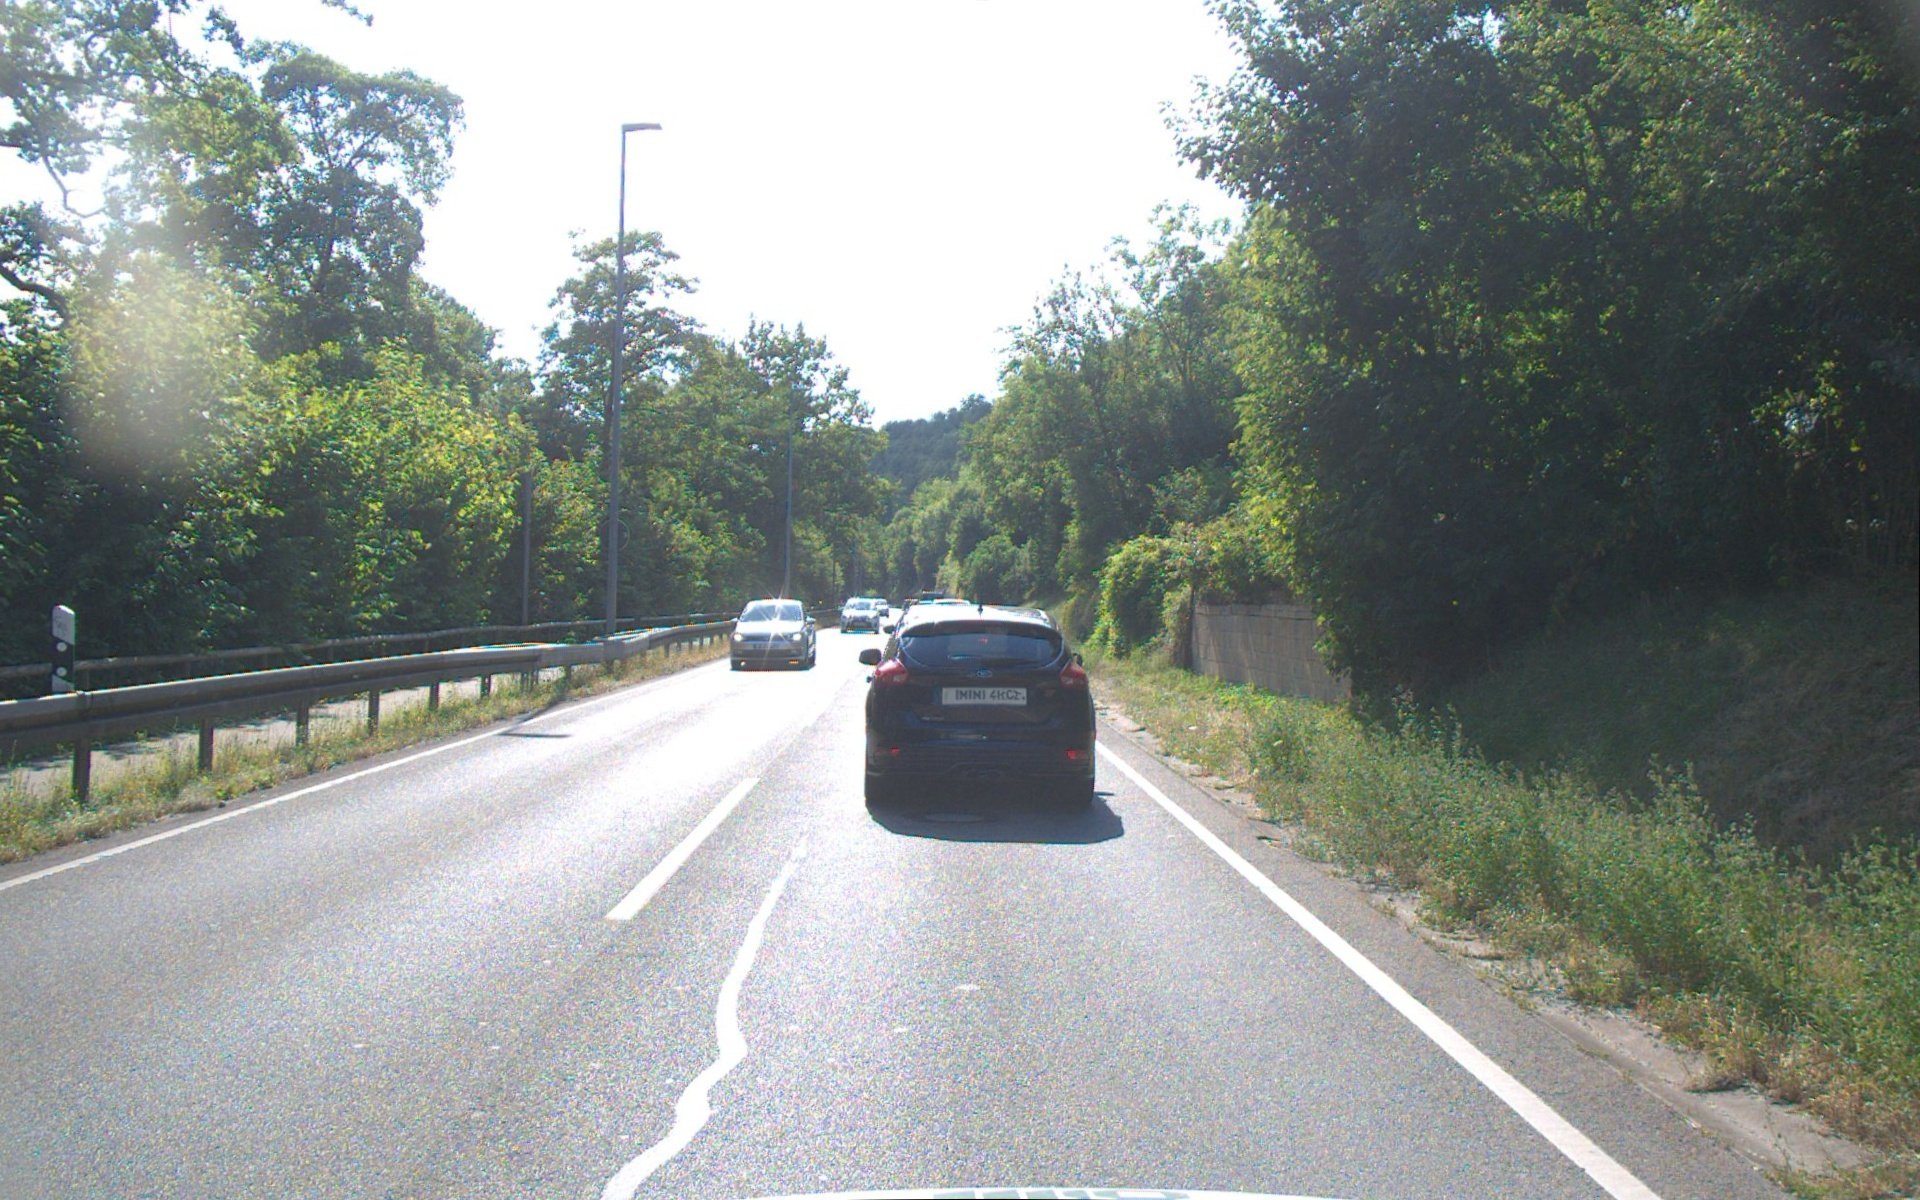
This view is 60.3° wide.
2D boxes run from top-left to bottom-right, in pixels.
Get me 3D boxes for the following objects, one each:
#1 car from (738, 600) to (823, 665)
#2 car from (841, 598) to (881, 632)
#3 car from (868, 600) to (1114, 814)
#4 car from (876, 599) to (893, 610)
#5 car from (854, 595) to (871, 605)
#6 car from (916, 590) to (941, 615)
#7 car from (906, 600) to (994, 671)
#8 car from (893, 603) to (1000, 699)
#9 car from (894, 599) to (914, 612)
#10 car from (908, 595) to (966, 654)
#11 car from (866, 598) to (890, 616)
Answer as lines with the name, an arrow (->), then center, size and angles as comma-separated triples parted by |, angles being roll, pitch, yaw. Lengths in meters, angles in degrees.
car -> -4.072, 0.709, 38.004 | 1.590, 1.401, 4.046 | 0, 0, -1
car -> -4.472, 0.650, 74.937 | 1.647, 1.489, 4.196 | 1, 0, -2
car -> 0.193, 0.760, 13.574 | 1.704, 1.482, 3.999 | 1, 0, -1
car -> -10.614, 0.636, 232.453 | 1.956, 1.545, 3.992 | 0, 0, -9
car -> -14.908, -0.021, 251.796 | 1.959, 1.545, 3.987 | 0, 0, -13
car -> -2.402, 0.163, 124.724 | 1.825, 1.812, 3.998 | 0, 0, -3
car -> -0.220, 0.719, 35.327 | 1.768, 1.416, 3.999 | 0, 0, -1
car -> -0.184, 0.789, 27.469 | 1.627, 1.443, 4.000 | 0, 0, 1
car -> -6.848, 0.641, 202.263 | 1.956, 1.545, 3.993 | 0, 0, -8
car -> -0.666, 0.671, 47.653 | 1.597, 1.624, 3.999 | 0, 0, -1
car -> -6.567, 0.560, 133.034 | 1.738, 1.412, 3.999 | 0, 0, -1
